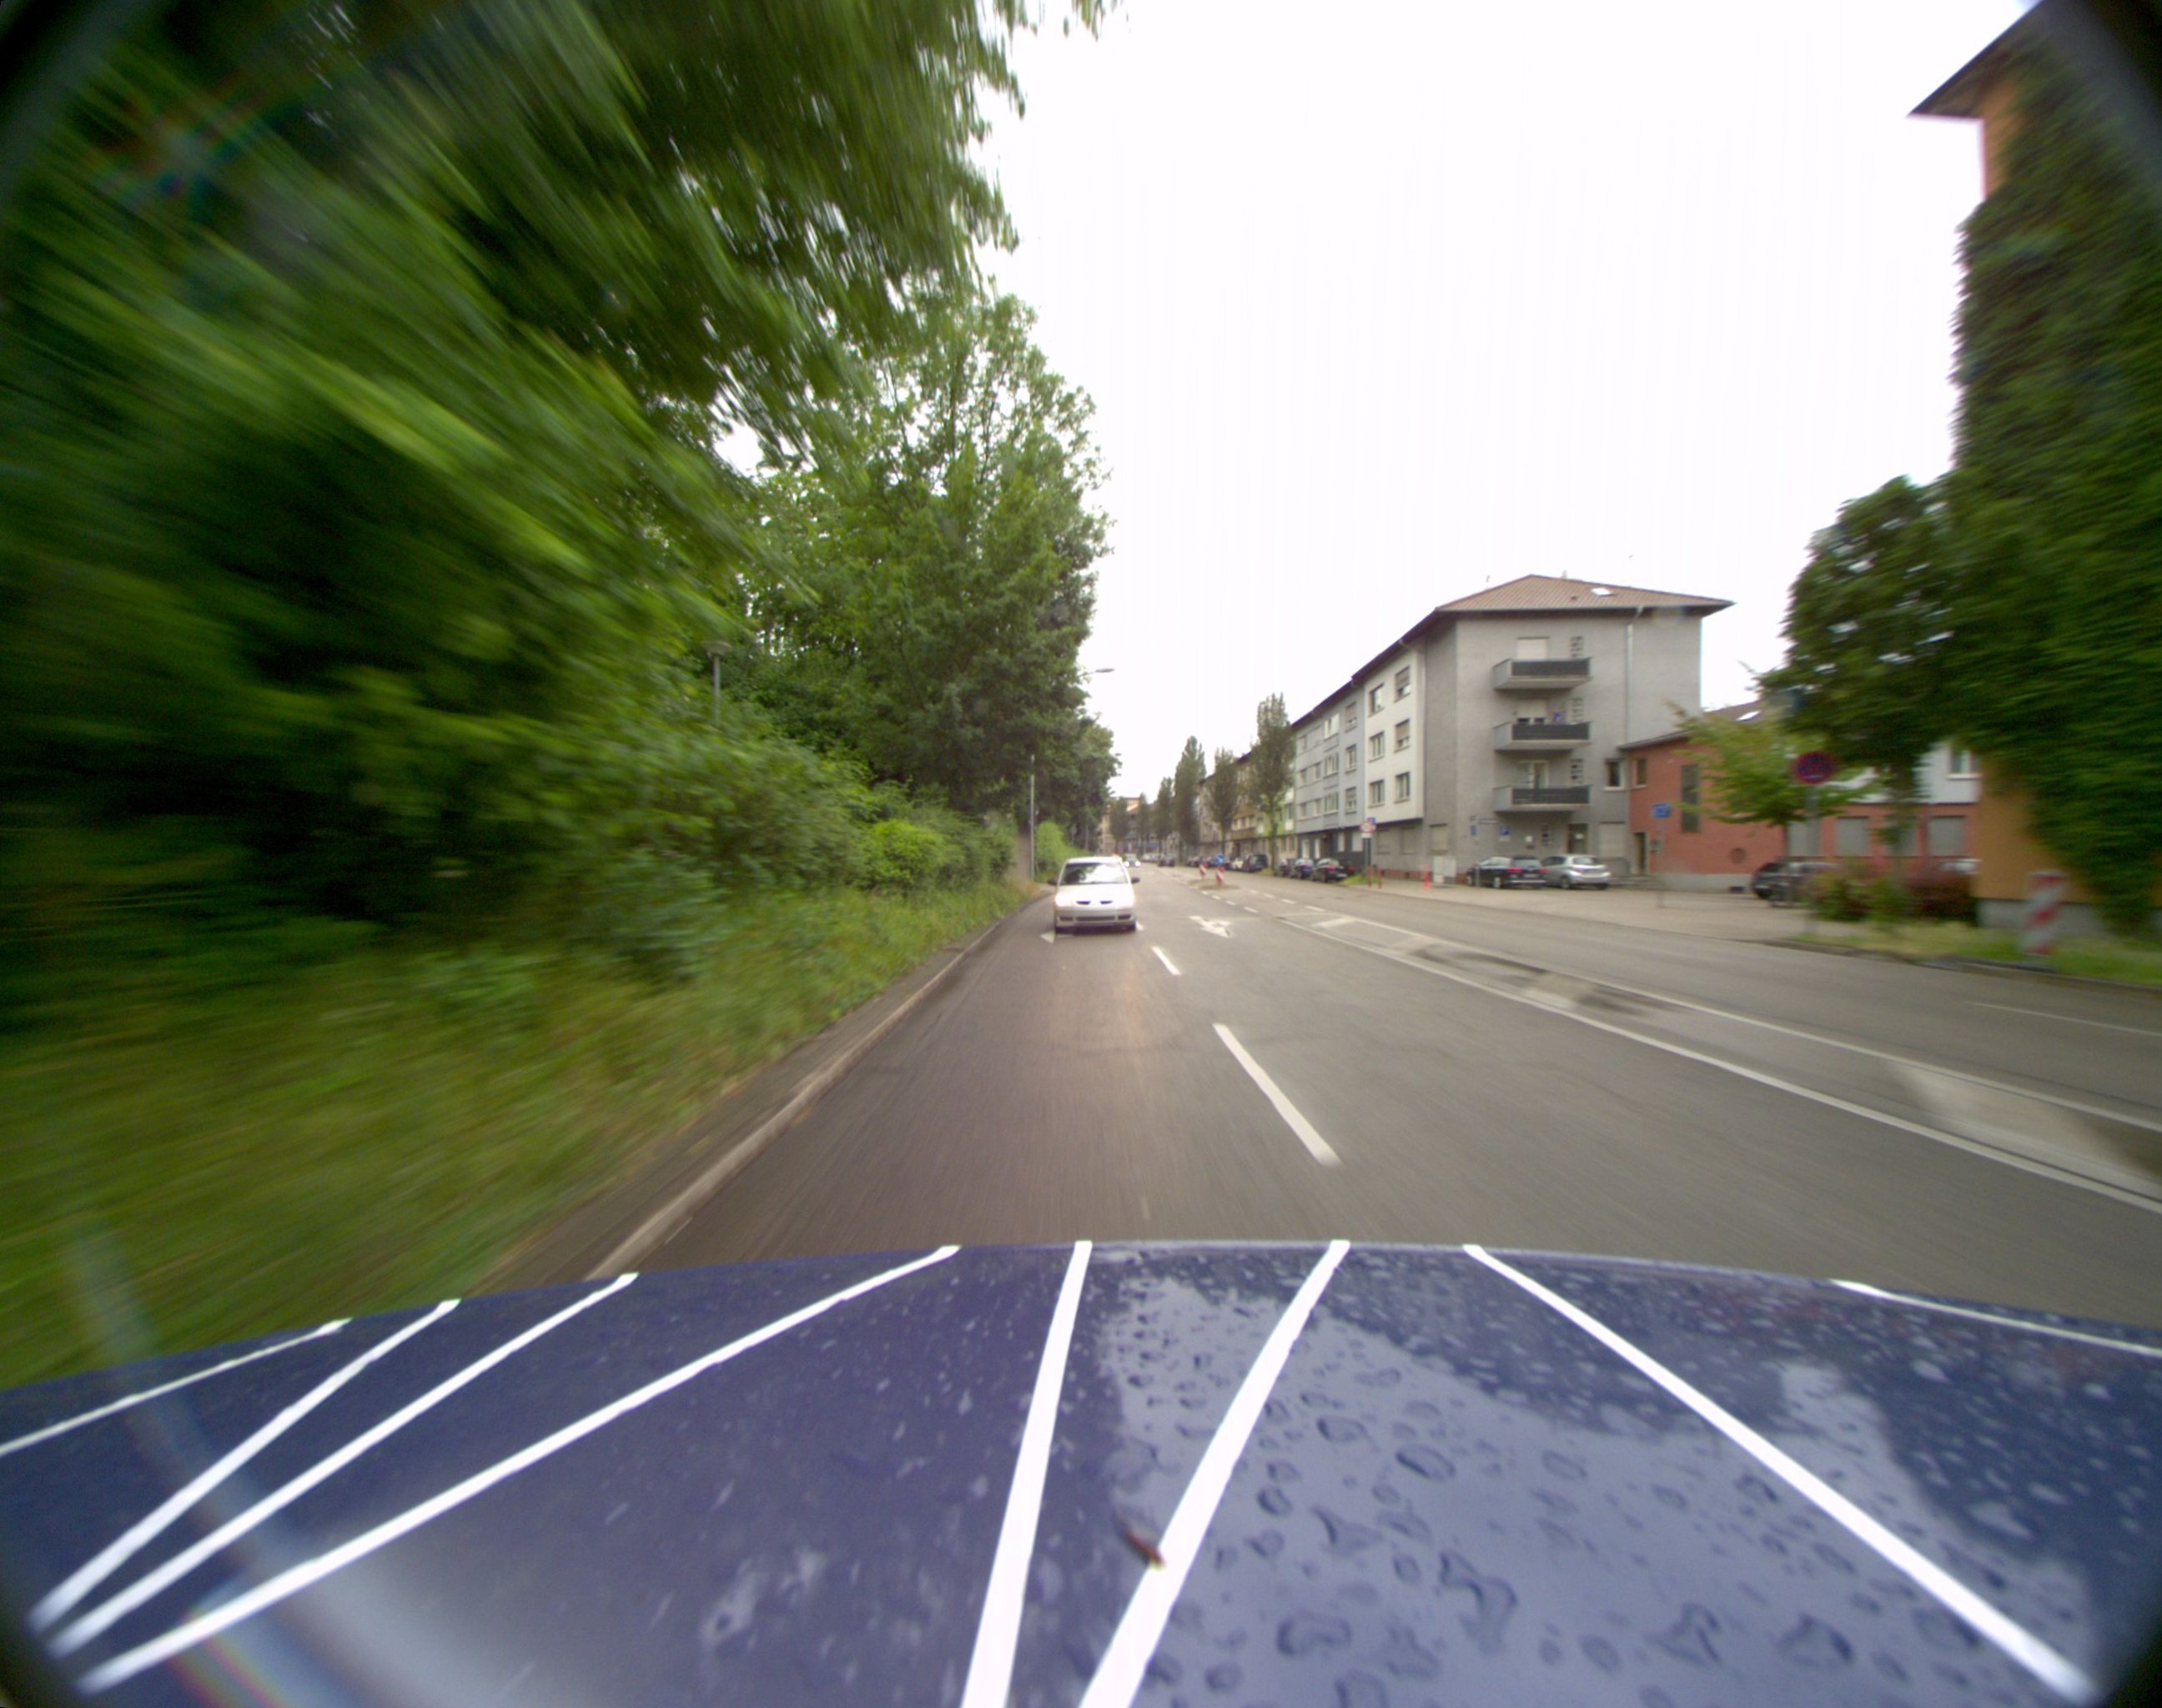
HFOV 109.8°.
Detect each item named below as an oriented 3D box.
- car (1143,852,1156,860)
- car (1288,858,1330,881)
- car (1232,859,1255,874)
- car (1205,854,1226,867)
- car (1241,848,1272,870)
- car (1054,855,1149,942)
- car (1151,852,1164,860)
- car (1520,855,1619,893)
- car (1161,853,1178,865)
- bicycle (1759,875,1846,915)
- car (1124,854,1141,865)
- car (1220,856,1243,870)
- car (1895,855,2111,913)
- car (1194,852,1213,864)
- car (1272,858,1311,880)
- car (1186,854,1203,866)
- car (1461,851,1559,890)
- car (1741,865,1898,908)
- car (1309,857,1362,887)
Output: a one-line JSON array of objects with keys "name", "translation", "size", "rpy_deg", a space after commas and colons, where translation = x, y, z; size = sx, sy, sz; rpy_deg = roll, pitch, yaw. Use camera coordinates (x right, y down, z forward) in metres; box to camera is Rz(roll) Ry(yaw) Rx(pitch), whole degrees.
[{"name": "car", "translation": [14.179, 0.344, 158.080], "size": [1.869, 1.558, 4.171], "rpy_deg": [0, 0, -6]}, {"name": "car", "translation": [15.078, 0.993, 50.354], "size": [1.726, 1.376, 3.927], "rpy_deg": [1, 0, 2]}, {"name": "car", "translation": [15.989, 1.196, 74.838], "size": [1.547, 1.369, 3.448], "rpy_deg": [1, 0, 2]}, {"name": "car", "translation": [16.213, 0.727, 91.817], "size": [1.867, 1.504, 4.000], "rpy_deg": [0, 0, 1]}, {"name": "car", "translation": [15.996, 0.430, 69.382], "size": [1.904, 1.859, 4.315], "rpy_deg": [-1, 1, 2]}, {"name": "car", "translation": [0.392, 0.883, 16.856], "size": [1.755, 1.586, 4.169], "rpy_deg": [-4, 0, 0]}, {"name": "car", "translation": [14.871, 0.362, 147.229], "size": [1.868, 1.558, 4.172], "rpy_deg": [0, 0, -4]}, {"name": "car", "translation": [21.444, 0.841, 33.572], "size": [1.734, 1.516, 4.229], "rpy_deg": [1, 1, 3]}, {"name": "car", "translation": [11.173, 0.637, 96.425], "size": [1.815, 1.507, 4.291], "rpy_deg": [2, 0, 3]}, {"name": "bicycle", "translation": [20.984, 1.174, 22.151], "size": [0.532, 1.052, 1.934], "rpy_deg": [0, 0, -6]}, {"name": "car", "translation": [6.919, 0.725, 102.429], "size": [1.999, 1.455, 3.999], "rpy_deg": [0, 0, -2]}, {"name": "car", "translation": [15.795, 0.927, 79.744], "size": [1.547, 1.338, 4.252], "rpy_deg": [2, 1, 0]}, {"name": "car", "translation": [26.502, 0.856, 21.940], "size": [3.997, 1.582, 1.902], "rpy_deg": [0, -1, -1]}, {"name": "car", "translation": [16.177, 0.509, 100.768], "size": [1.867, 1.558, 4.173], "rpy_deg": [0, 0, 1]}, {"name": "car", "translation": [15.431, 1.087, 55.965], "size": [1.726, 1.472, 4.316], "rpy_deg": [2, 0, 2]}, {"name": "car", "translation": [15.958, 0.823, 107.072], "size": [1.867, 1.591, 4.173], "rpy_deg": [0, 0, 1]}, {"name": "car", "translation": [18.800, 0.671, 33.565], "size": [1.855, 1.477, 4.635], "rpy_deg": [-2, 1, 3]}, {"name": "car", "translation": [27.510, 1.193, 28.410], "size": [3.997, 1.404, 1.904], "rpy_deg": [1, 2, 0]}, {"name": "car", "translation": [14.866, 1.017, 44.619], "size": [1.851, 1.536, 4.248], "rpy_deg": [-2, 1, 3]}]
